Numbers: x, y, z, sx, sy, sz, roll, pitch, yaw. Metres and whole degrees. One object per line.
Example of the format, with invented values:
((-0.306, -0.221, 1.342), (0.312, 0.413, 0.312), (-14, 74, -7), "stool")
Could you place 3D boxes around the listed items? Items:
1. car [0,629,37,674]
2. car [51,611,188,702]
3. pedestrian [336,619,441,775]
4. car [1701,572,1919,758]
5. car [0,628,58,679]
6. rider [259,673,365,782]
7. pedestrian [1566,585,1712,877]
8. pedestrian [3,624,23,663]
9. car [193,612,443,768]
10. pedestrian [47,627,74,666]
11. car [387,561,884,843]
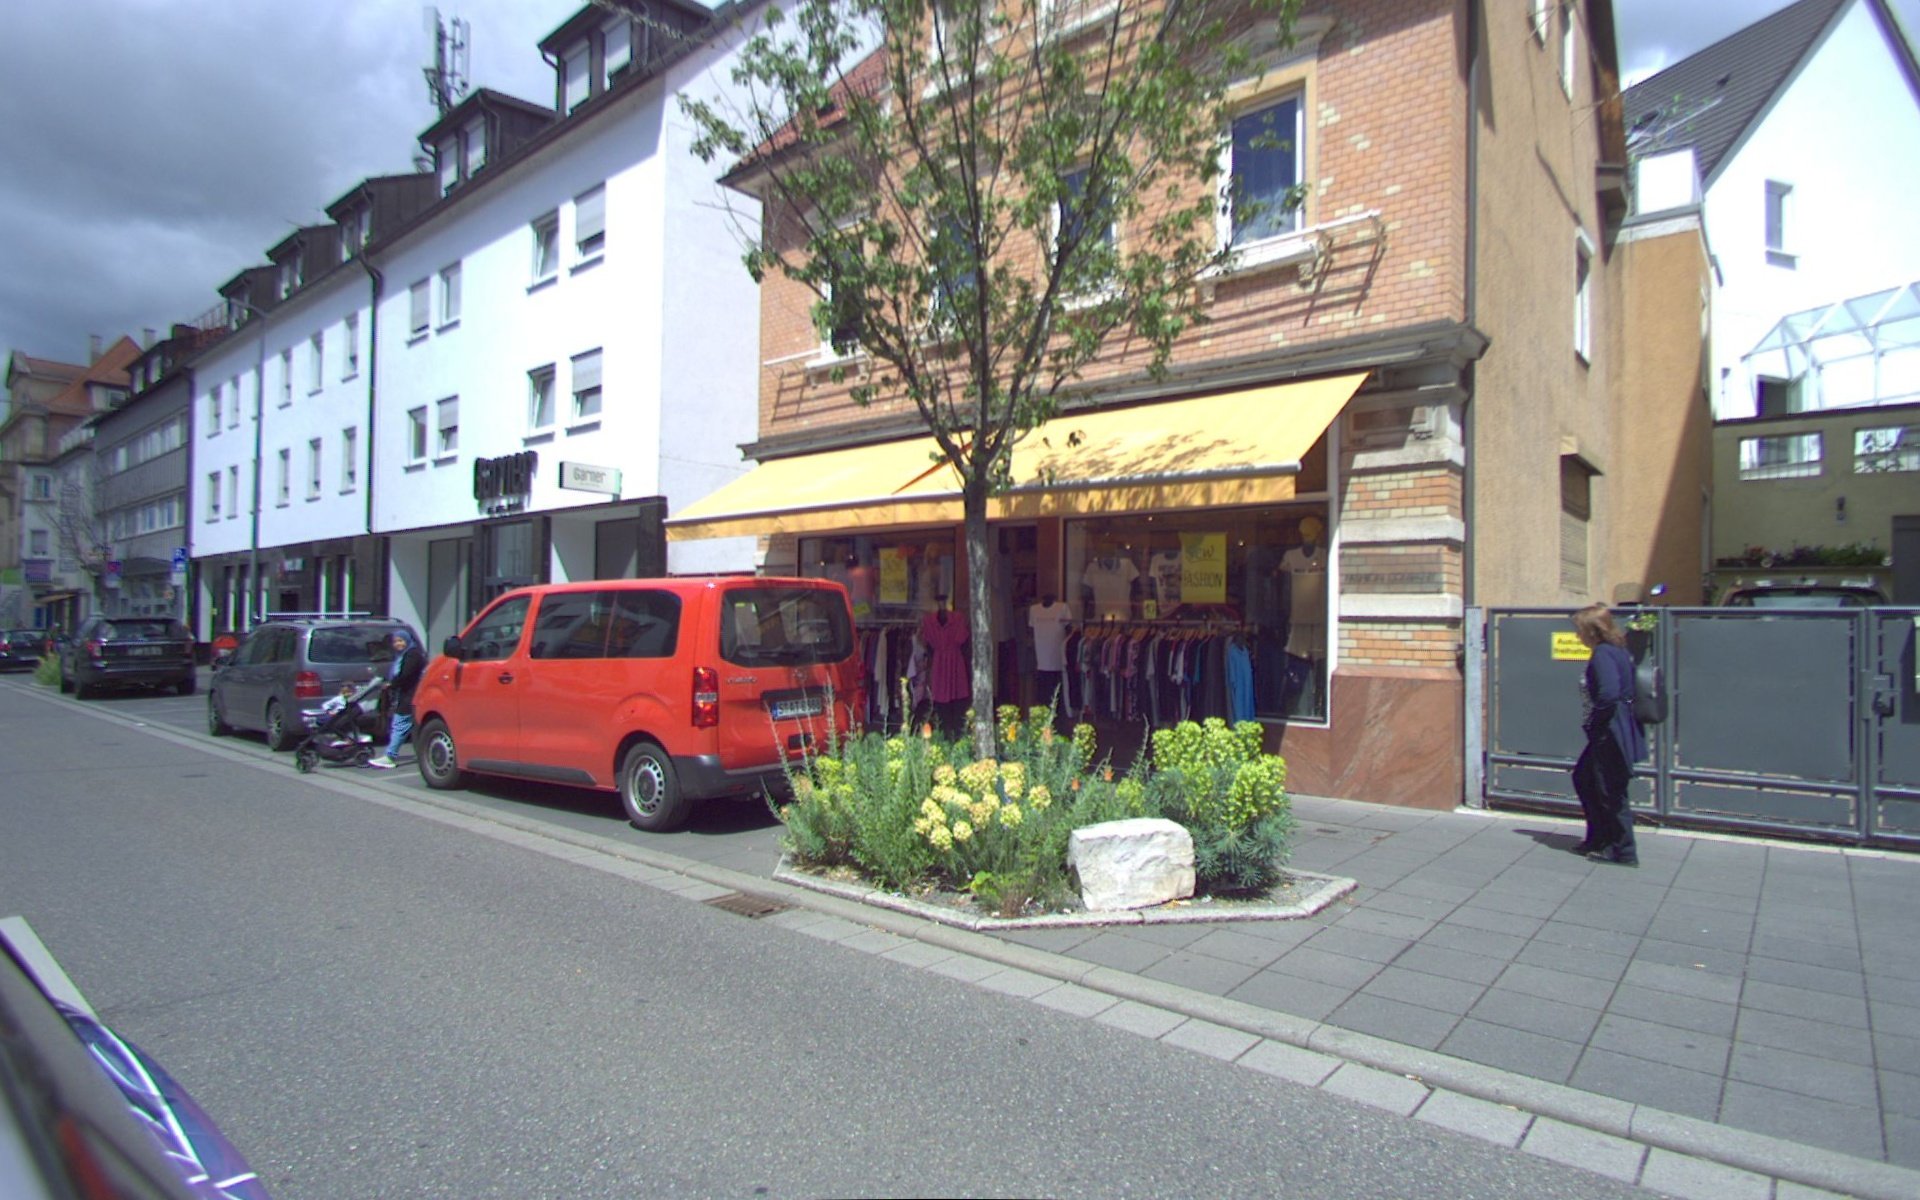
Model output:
((-35.779, 1.876, 37.559), (4.710, 1.524, 1.771), (0, 0, 41), "car")
((-18.490, 1.135, 22.180), (4.670, 1.768, 1.796), (0, 0, 44), "car")
((-6.198, 1.004, 10.975), (0.779, 1.586, 0.797), (-1, 0, 43), "pedestrian")
((9.364, 0.574, 10.874), (1.999, 1.652, 3.946), (0, 0, 40), "car")
((-31.304, 1.720, 33.391), (4.175, 1.515, 1.772), (-1, -1, 40), "car")
((-6.826, 1.314, 10.664), (0.707, 1.021, 0.795), (-1, 0, 43), "rider")
((4.119, 0.737, 6.139), (0.661, 1.645, 0.582), (-1, 0, 41), "pedestrian")
((-43.766, 2.011, 46.769), (0.728, 1.770, 0.543), (-1, 0, 38), "pedestrian")
((-8.924, 1.068, 13.905), (4.463, 1.768, 1.797), (0, 0, 42), "car")
((-38.061, 1.948, 42.817), (0.650, 1.630, 0.725), (-1, 0, 36), "pedestrian")
((-3.079, 0.701, 9.025), (4.833, 1.903, 1.799), (0, 0, 37), "car")
